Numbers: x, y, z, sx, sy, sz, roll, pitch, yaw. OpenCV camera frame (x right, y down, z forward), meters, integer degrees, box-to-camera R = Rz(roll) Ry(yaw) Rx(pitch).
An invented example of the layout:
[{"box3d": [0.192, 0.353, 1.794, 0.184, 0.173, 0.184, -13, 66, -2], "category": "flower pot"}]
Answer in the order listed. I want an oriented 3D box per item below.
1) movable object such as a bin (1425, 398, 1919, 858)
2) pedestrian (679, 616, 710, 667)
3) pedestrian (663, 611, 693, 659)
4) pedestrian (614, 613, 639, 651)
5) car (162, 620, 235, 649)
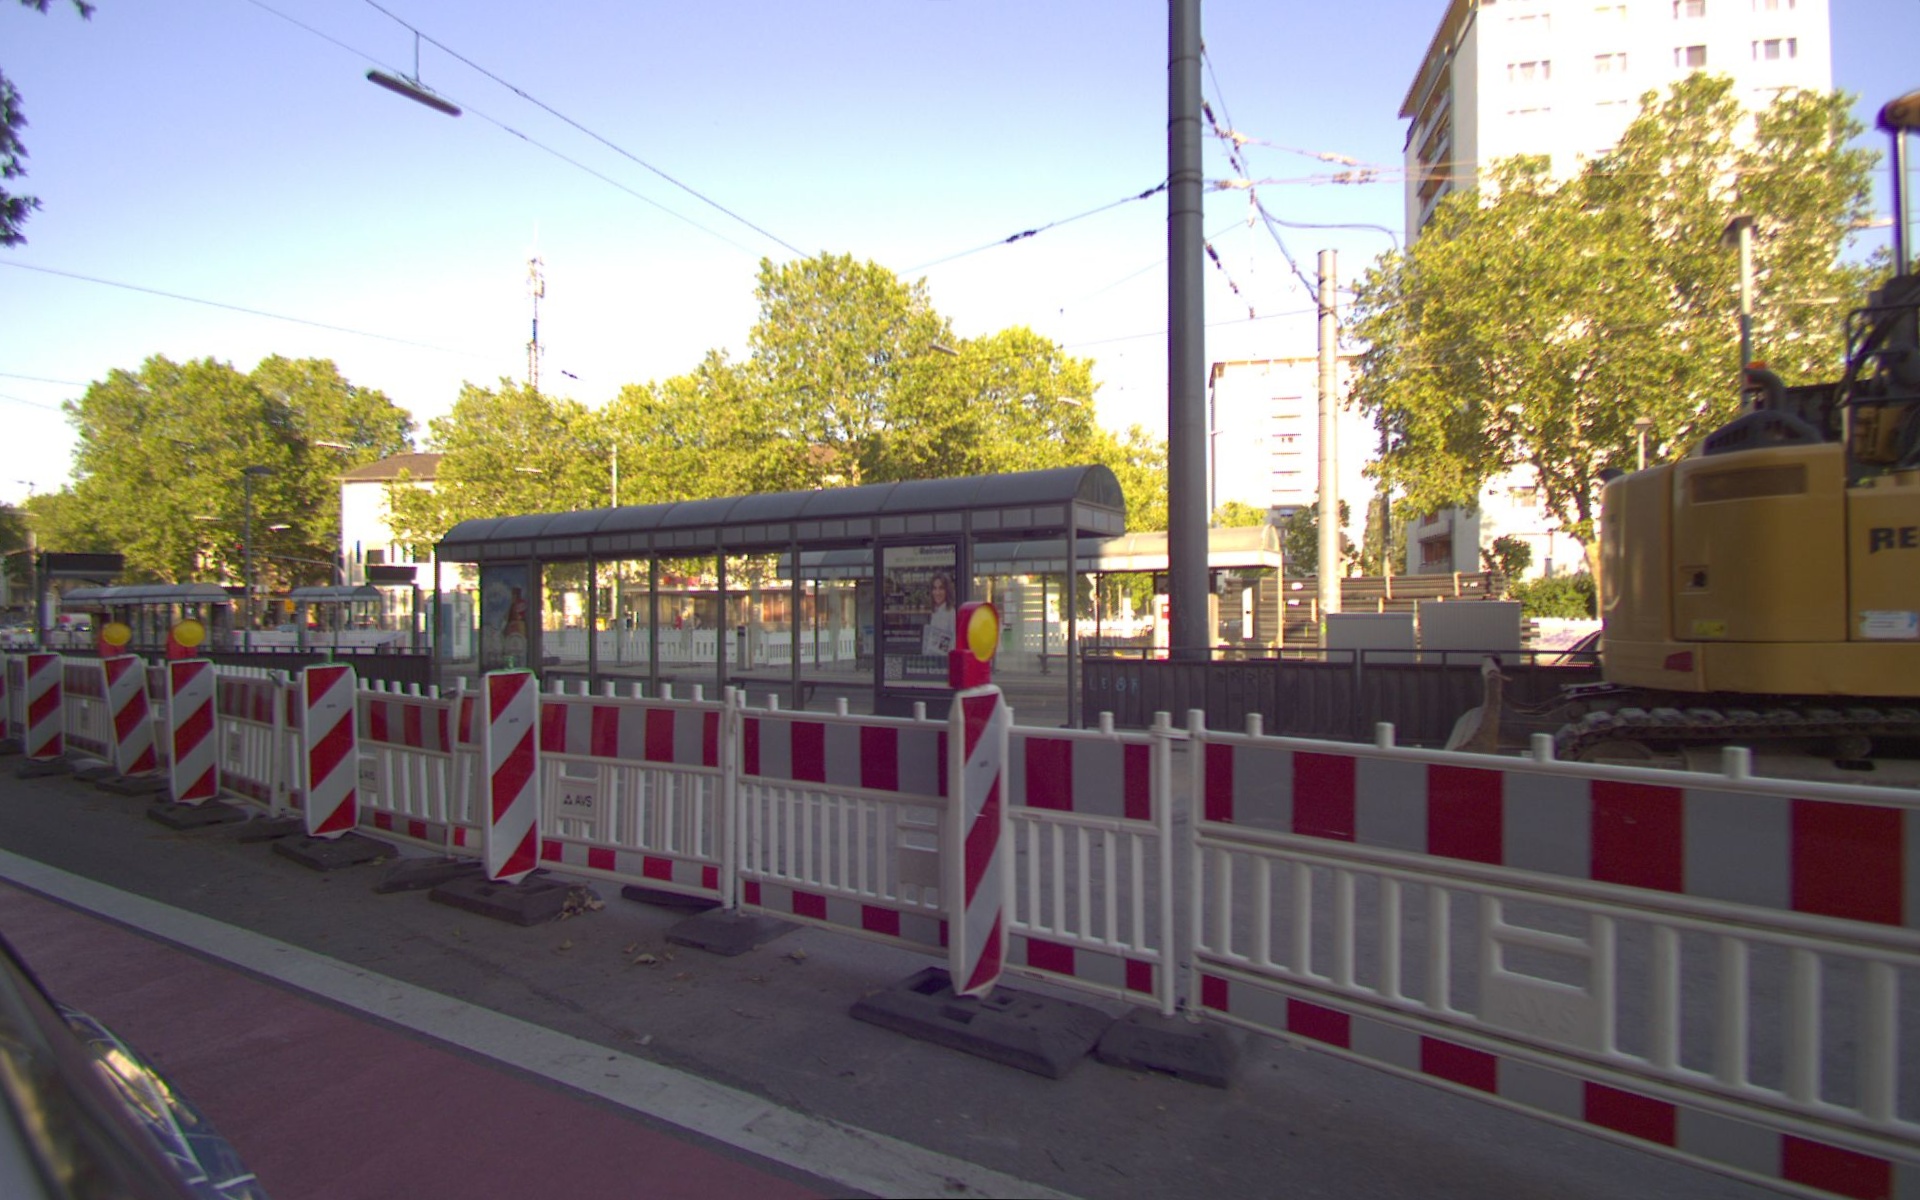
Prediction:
[{"box3d": [5.638, 0.138, 6.210, 4.880, 2.335, 2.626, -2, -1, 29], "category": "movable object such as a bin"}, {"box3d": [-10.854, 1.683, 41.403, 0.882, 2.029, 0.876, -2, -1, 37], "category": "pedestrian"}, {"box3d": [-12.160, 1.484, 43.573, 0.882, 2.029, 0.876, -2, -1, 37], "category": "pedestrian"}, {"box3d": [-17.964, 1.727, 54.545, 0.882, 2.029, 0.876, -1, -1, 26], "category": "pedestrian"}, {"box3d": [-45.215, 2.048, 60.131, 3.355, 1.586, 1.677, -1, -1, 11], "category": "car"}]
